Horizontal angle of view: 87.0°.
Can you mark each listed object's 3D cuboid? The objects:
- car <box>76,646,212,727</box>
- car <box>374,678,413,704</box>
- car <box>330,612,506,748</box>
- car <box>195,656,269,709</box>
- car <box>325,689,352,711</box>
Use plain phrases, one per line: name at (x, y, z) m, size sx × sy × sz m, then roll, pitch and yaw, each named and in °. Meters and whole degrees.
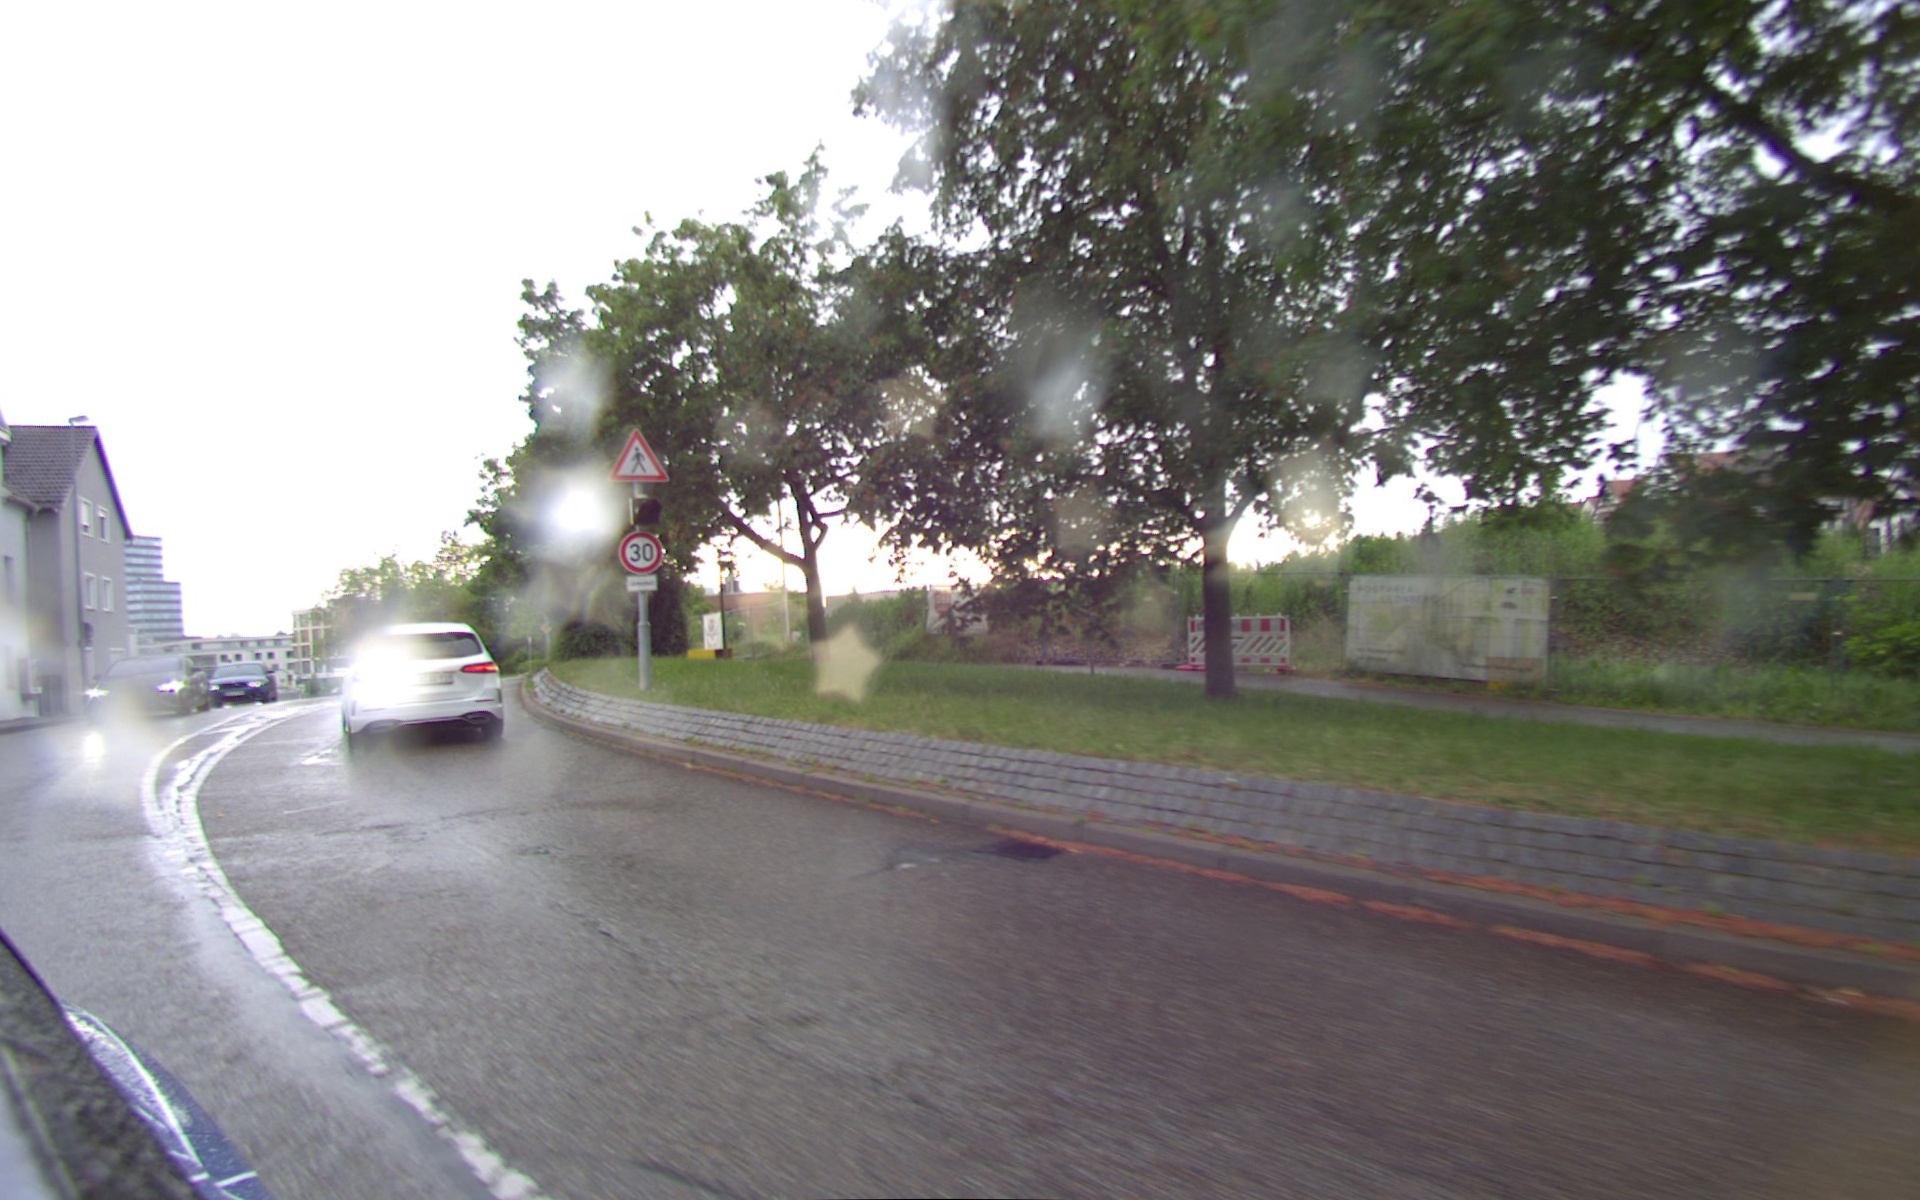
car at (-19.373, 2.051, 24.226) m, size 1.809 × 1.525 × 4.861 m, roll -6°, pitch -1°, yaw -32°
car at (-39.179, 6.300, 69.924) m, size 1.620 × 1.532 × 4.077 m, roll -3°, pitch -3°, yaw -40°
car at (-7.568, 1.002, 13.919) m, size 1.700 × 1.516 × 4.269 m, roll -2°, pitch -1°, yaw -34°
car at (-23.670, 2.731, 33.049) m, size 1.762 × 1.357 × 4.956 m, roll -4°, pitch -4°, yaw -35°
car at (-53.764, 8.660, 87.516) m, size 1.623 × 1.563 × 4.164 m, roll -7°, pitch -1°, yaw -35°
